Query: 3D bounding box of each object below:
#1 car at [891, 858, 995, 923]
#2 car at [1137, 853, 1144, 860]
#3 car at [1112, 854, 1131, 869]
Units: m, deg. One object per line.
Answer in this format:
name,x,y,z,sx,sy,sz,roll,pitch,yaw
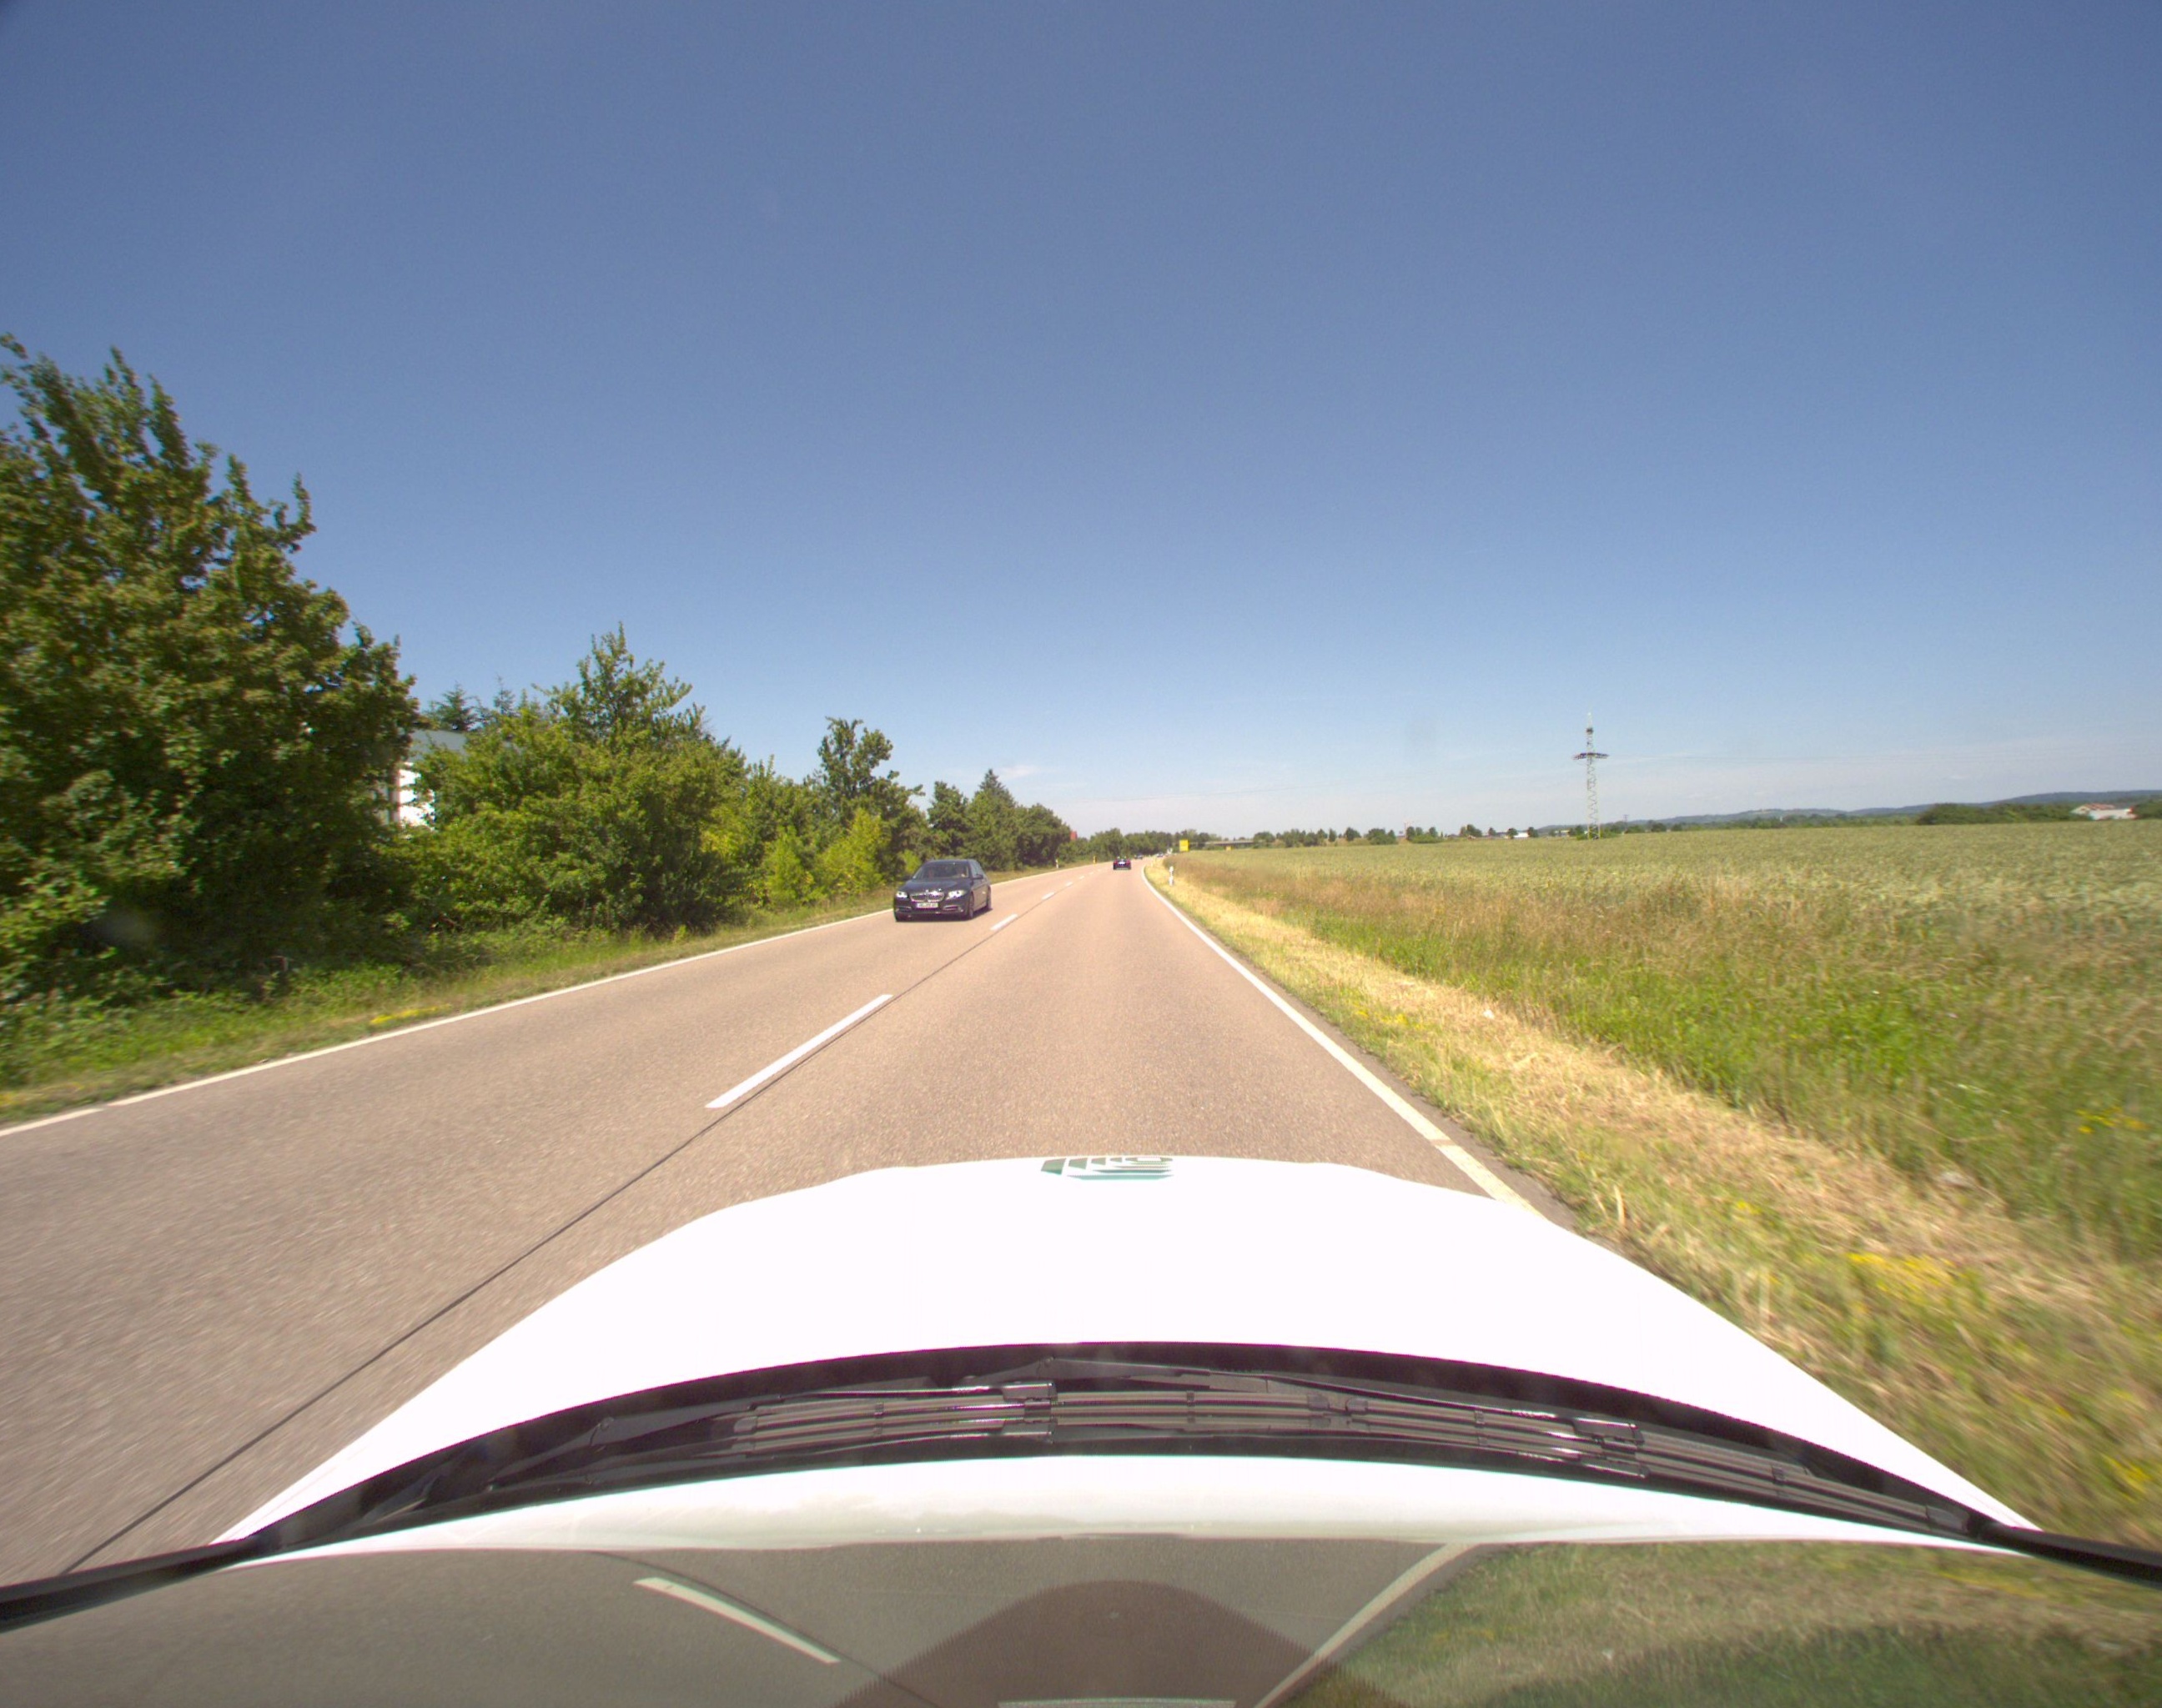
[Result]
car,-3.404,0.845,20.920,1.794,1.450,4.534,-1,0,1
car,15.079,0.590,205.090,1.691,1.566,3.676,-3,0,5
car,4.135,0.724,82.175,1.806,1.441,4.005,0,0,4
